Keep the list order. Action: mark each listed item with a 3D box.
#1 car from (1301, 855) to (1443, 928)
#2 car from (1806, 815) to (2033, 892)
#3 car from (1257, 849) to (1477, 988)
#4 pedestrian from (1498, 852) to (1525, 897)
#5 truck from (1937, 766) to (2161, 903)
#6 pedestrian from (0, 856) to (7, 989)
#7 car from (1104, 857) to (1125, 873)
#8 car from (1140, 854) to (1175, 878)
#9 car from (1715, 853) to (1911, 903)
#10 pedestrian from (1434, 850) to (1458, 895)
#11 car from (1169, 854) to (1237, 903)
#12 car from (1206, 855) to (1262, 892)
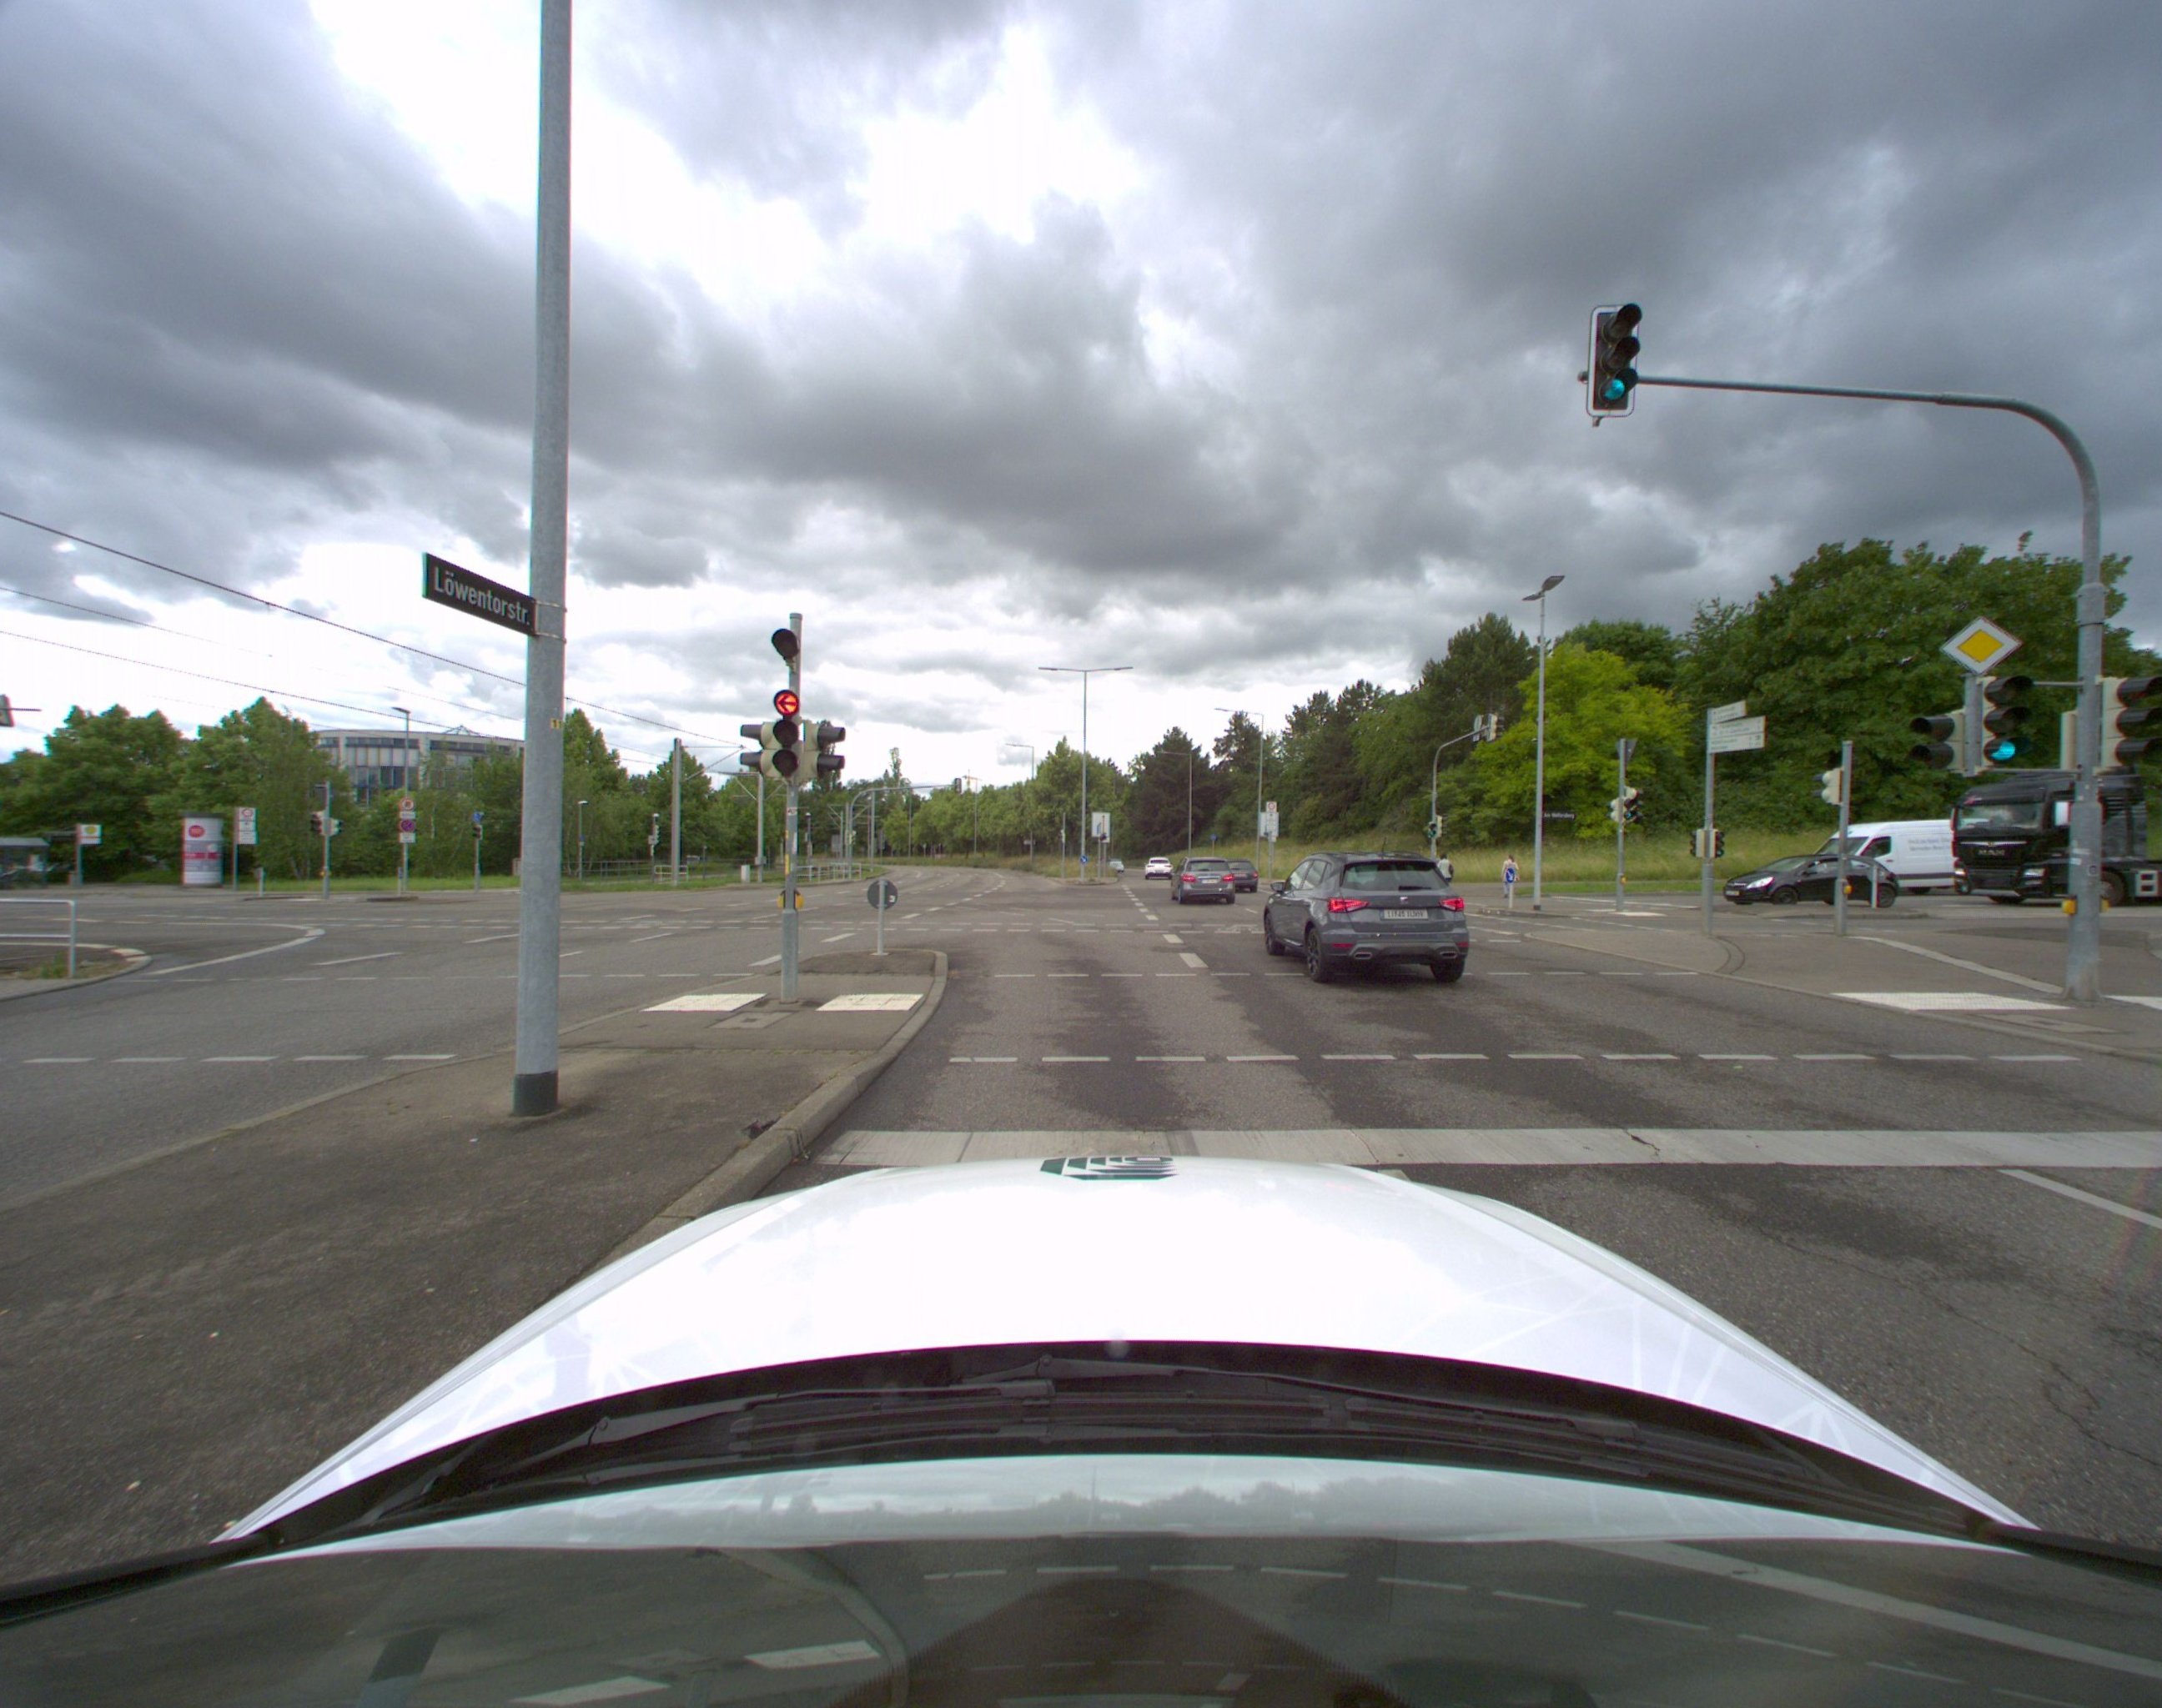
[{"bbox_3d":[6.249,0.735,18.024,1.740,1.382,4.292,0,0,2],"label":"car"},{"bbox_3d":[29.626,-0.002,28.933,5.780,2.630,2.002,0,-1,3],"label":"car"},{"bbox_3d":[3.509,0.690,10.735,1.618,1.493,3.838,0,0,1],"label":"car"},{"bbox_3d":[15.652,0.734,29.643,0.640,1.612,0.715,0,-1,7],"label":"pedestrian"},{"bbox_3d":[27.986,-0.515,22.294,5.971,3.486,2.694,-1,-1,4],"label":"truck"},{"bbox_3d":[-12.823,0.795,9.109,0.632,1.536,0.719,0,-1,-2],"label":"pedestrian"},{"bbox_3d":[3.198,1.074,78.503,1.590,1.516,2.761,0,-1,-6],"label":"car"},{"bbox_3d":[5.007,0.783,54.086,1.839,1.506,4.528,0,-1,-1],"label":"car"},{"bbox_3d":[20.312,0.659,22.721,3.859,1.338,1.698,0,-1,4],"label":"car"},{"bbox_3d":[13.773,0.688,30.778,0.640,1.662,0.715,0,-1,8],"label":"pedestrian"},{"bbox_3d":[3.994,0.774,27.277,1.740,1.508,4.049,0,0,1],"label":"car"},{"bbox_3d":[6.606,0.802,35.500,1.740,1.485,4.358,0,1,2],"label":"car"}]
